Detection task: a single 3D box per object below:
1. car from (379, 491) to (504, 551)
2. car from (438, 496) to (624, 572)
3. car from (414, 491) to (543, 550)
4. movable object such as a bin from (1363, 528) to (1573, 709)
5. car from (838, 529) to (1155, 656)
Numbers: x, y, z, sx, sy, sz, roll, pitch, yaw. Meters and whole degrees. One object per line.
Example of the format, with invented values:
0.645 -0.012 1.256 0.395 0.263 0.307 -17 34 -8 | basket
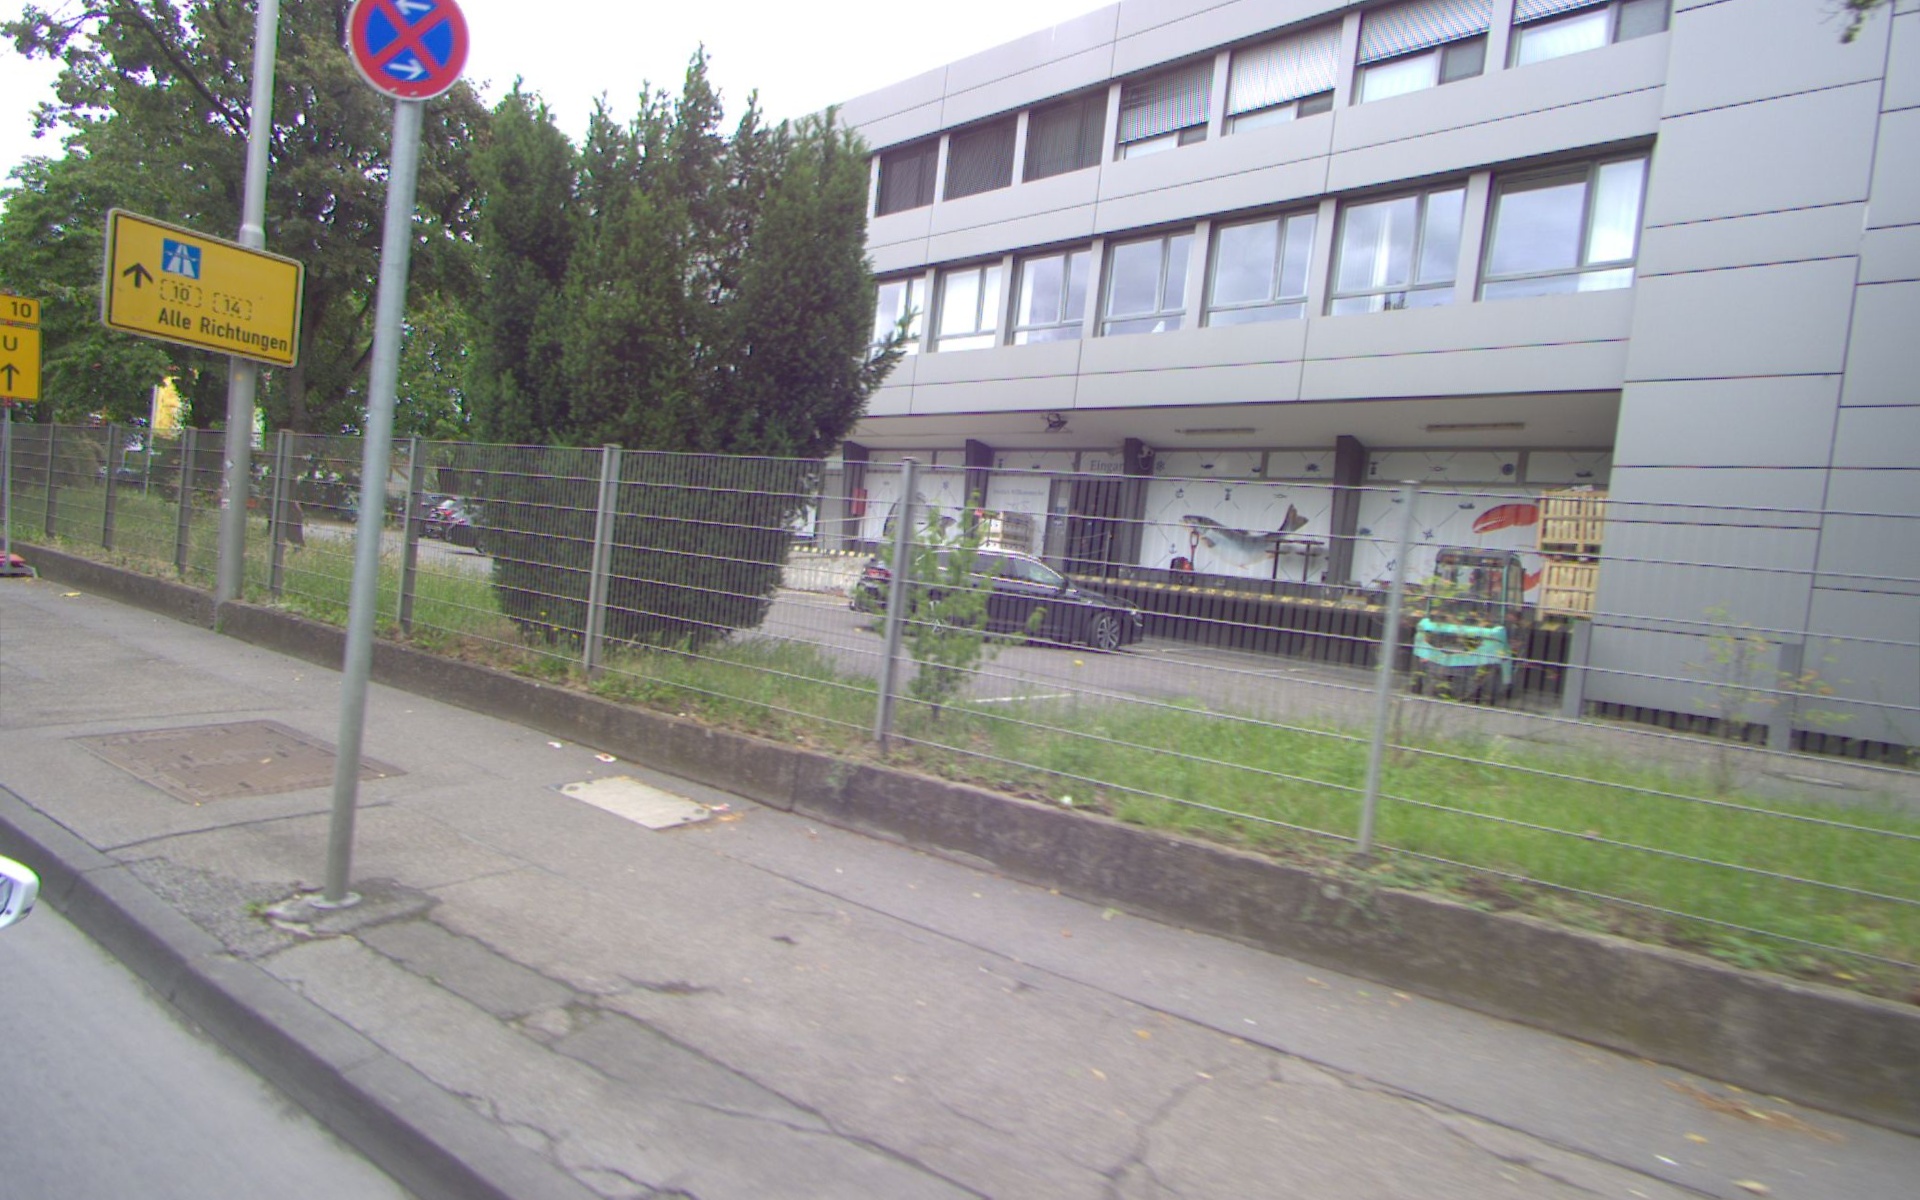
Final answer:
-19.636 -2.974 38.211 1.831 1.695 3.695 9 2 40 | car
-12.627 -1.923 29.712 4.803 1.554 2.008 6 2 -28 | car
-17.302 -2.834 36.250 1.803 1.554 3.695 9 2 40 | car
8.026 0.308 15.706 1.923 2.336 3.981 8 3 38 | movable object such as a bin
0.531 -0.125 16.191 4.619 1.493 1.992 5 2 -15 | car
